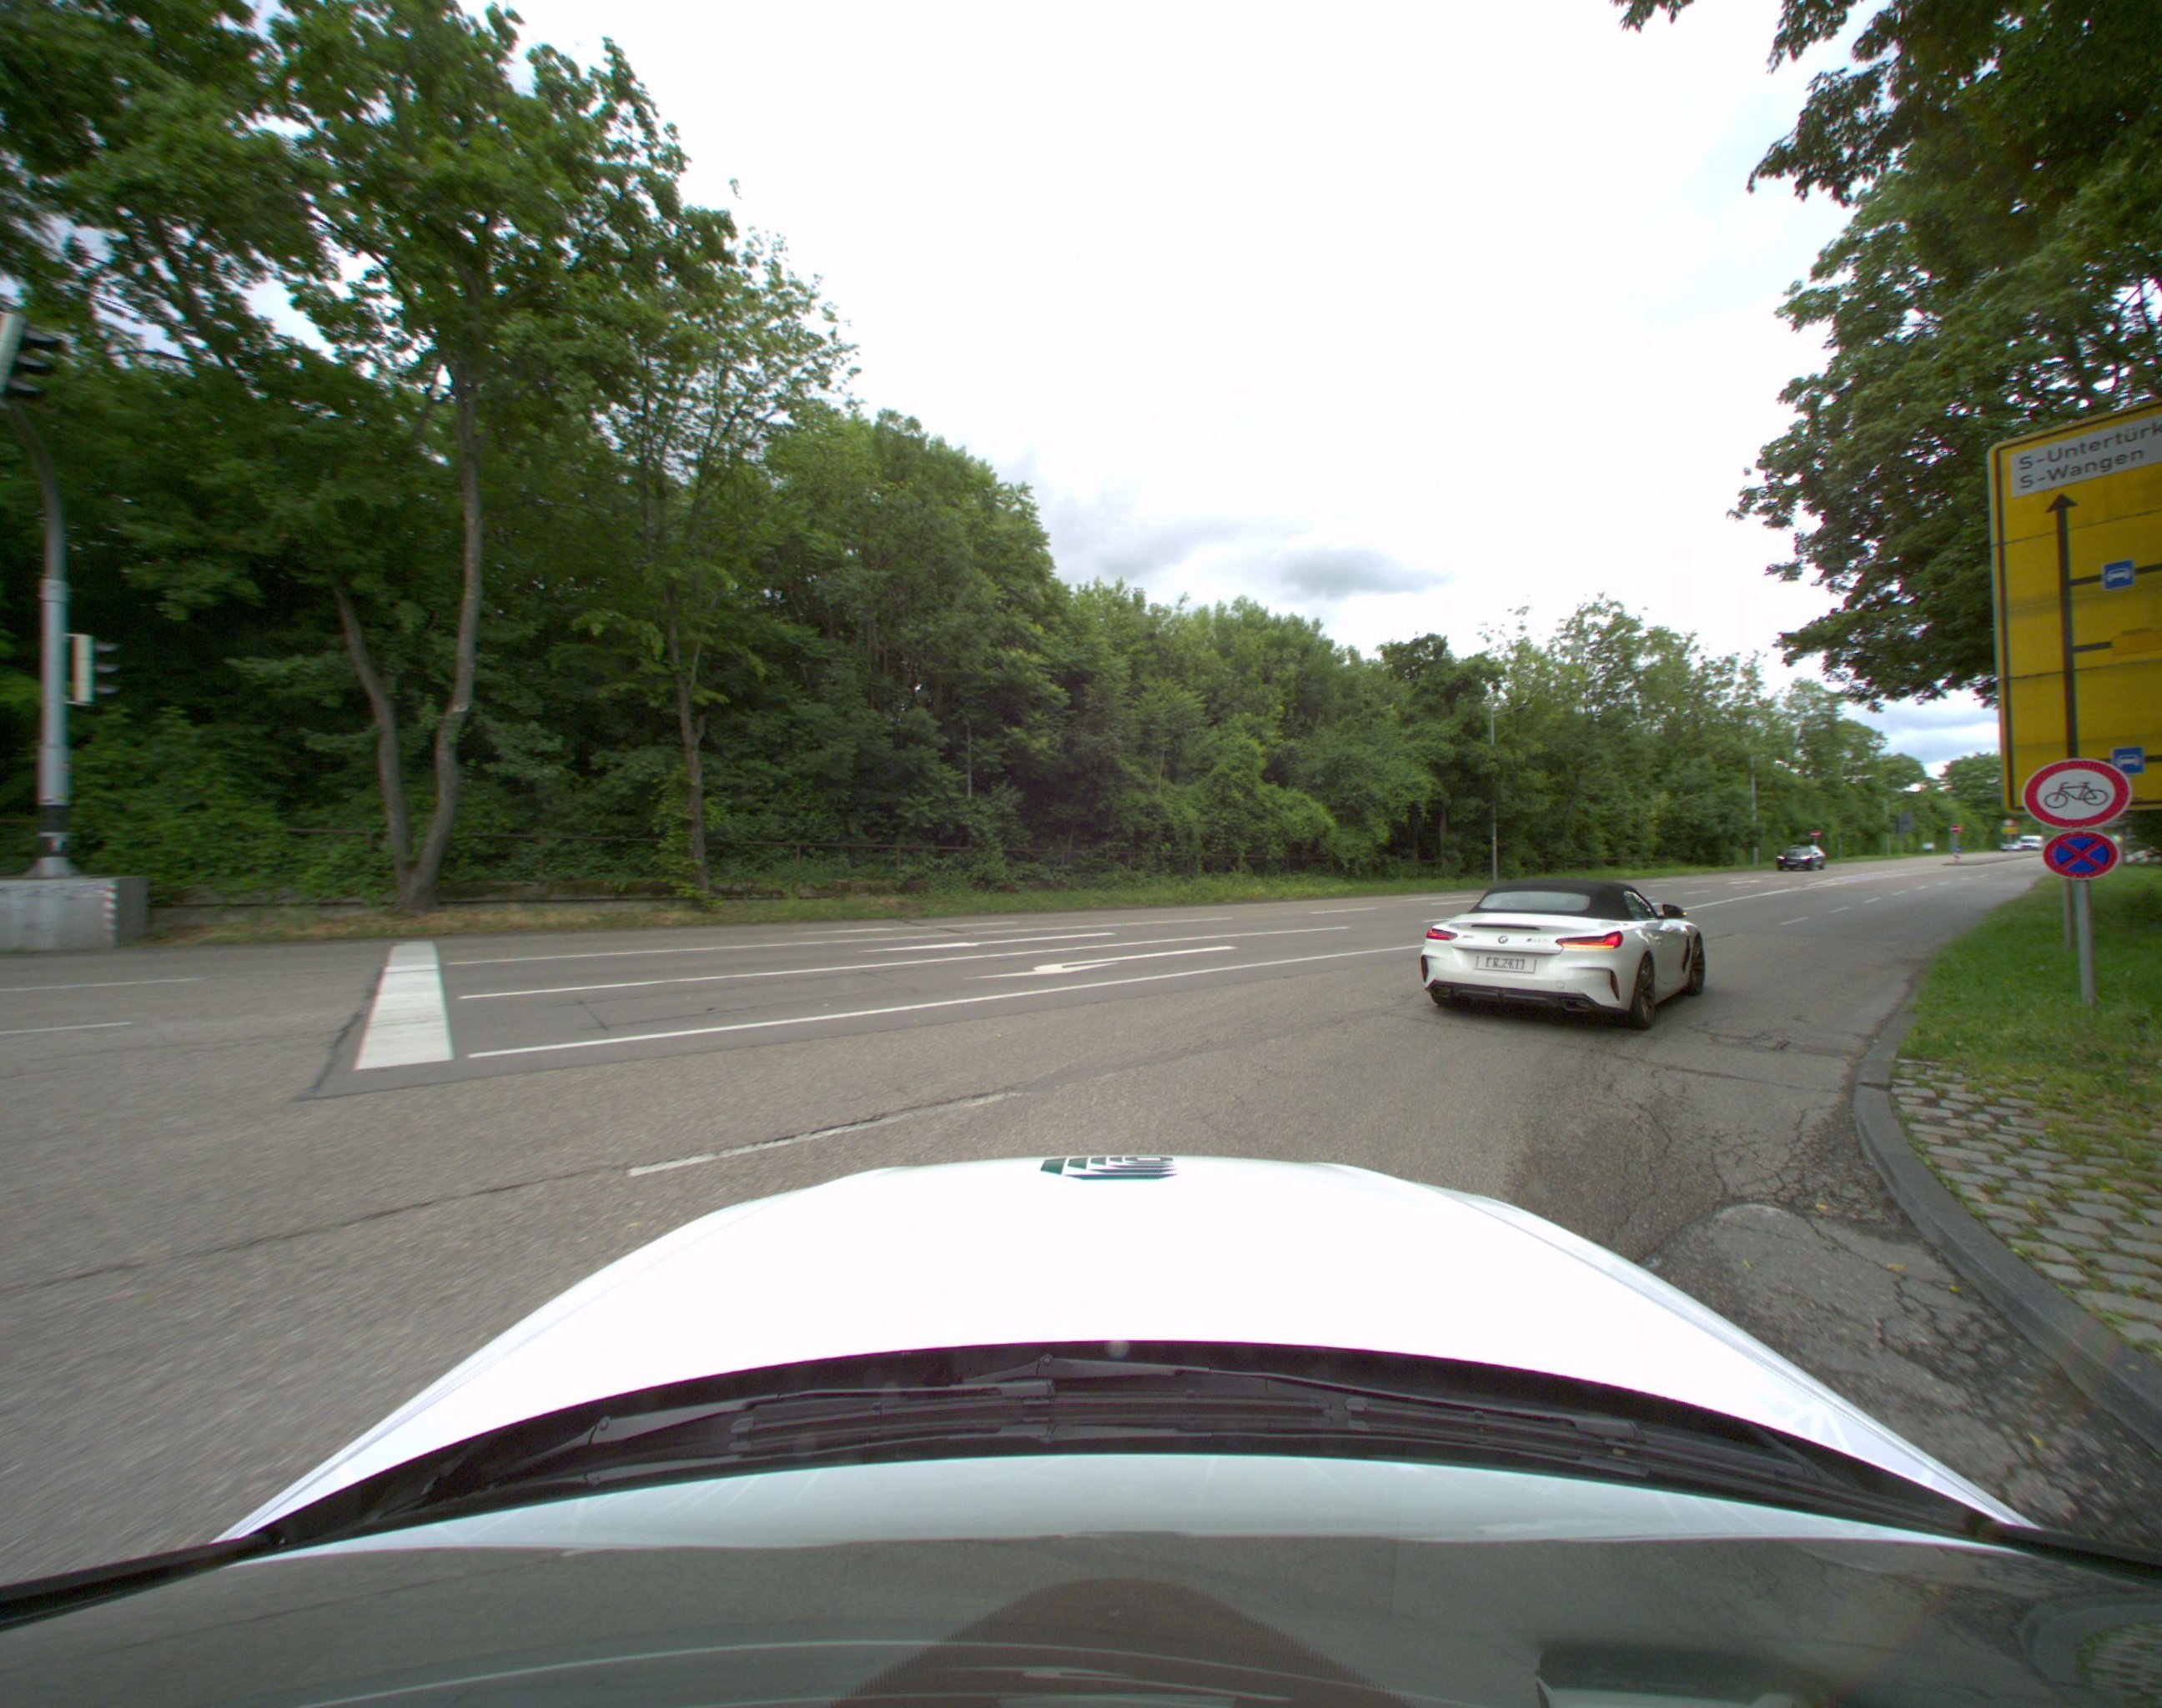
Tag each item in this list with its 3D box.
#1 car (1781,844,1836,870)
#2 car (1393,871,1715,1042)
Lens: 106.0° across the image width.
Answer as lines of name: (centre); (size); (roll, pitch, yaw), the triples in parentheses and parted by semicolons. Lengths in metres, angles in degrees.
car: (49.305, 0.209, 55.163); (4.238, 1.653, 1.809); (1, 1, -35)
car: (5.060, 0.853, 8.489); (3.894, 1.309, 1.858); (1, -1, -43)
